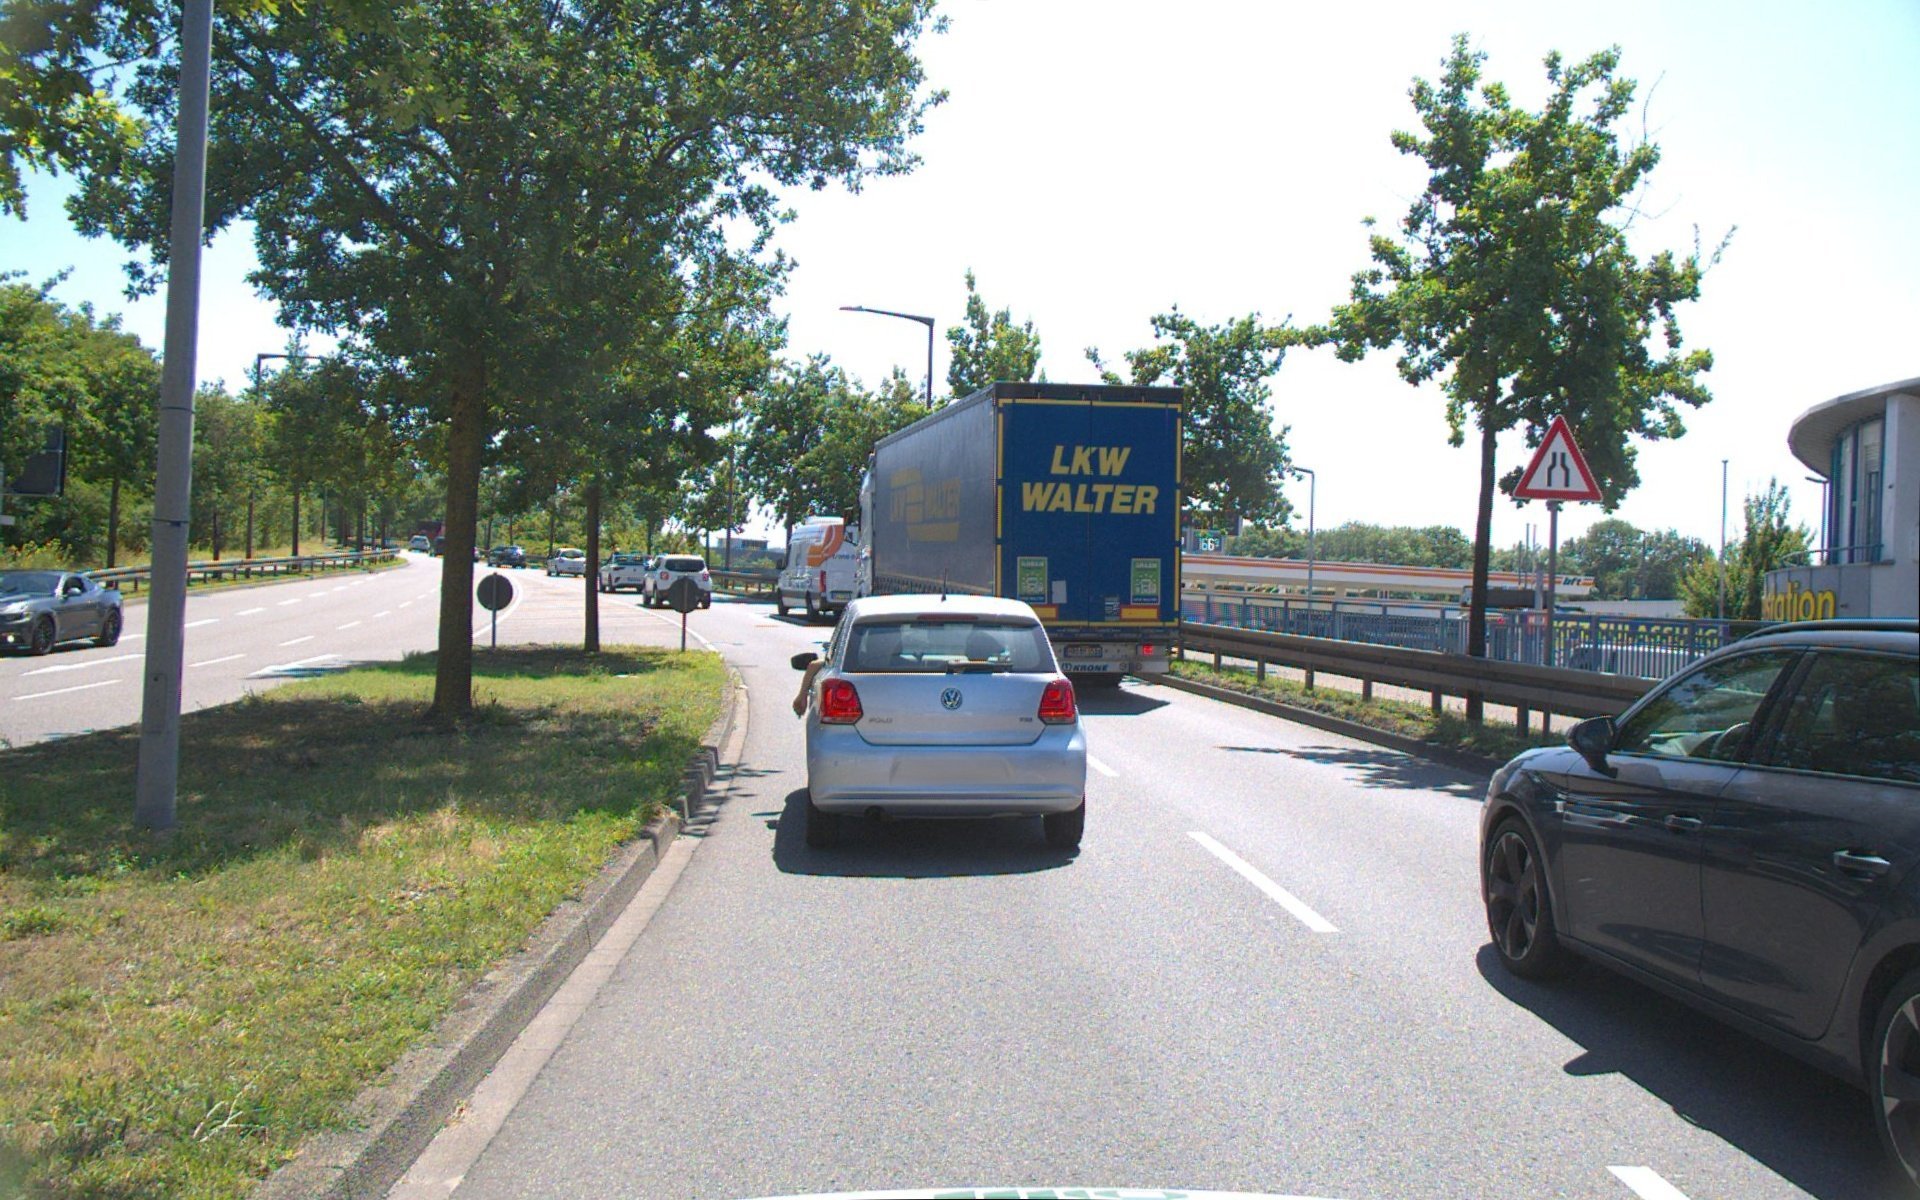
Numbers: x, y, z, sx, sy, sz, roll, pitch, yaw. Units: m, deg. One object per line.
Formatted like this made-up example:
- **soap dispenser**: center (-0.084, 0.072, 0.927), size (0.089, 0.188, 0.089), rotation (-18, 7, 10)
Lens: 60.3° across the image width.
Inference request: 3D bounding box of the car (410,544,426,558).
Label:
- **car**: center (-50.015, -4.552, 152.650), size (1.301, 1.158, 2.979), rotation (2, 0, -18)

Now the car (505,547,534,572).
- **car**: center (-27.982, -2.548, 105.034), size (1.639, 1.490, 3.563), rotation (2, 0, -17)

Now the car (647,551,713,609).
- **car**: center (-9.138, -0.614, 53.819), size (1.870, 1.748, 4.210), rotation (2, 0, -12)

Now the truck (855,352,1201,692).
- **truck**: center (0.385, -1.071, 29.317), size (2.781, 4.271, 16.438), rotation (1, 0, -9)

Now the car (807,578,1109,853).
- **car**: center (-0.148, 0.640, 10.768), size (1.614, 1.464, 3.533), rotation (2, 0, -5)

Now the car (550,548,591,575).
- **car**: center (-20.748, -2.034, 88.086), size (1.585, 1.383, 3.638), rotation (2, 0, -22)

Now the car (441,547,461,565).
- **car**: center (-40.036, -3.458, 130.110), size (1.395, 1.337, 3.321), rotation (2, 0, -17)

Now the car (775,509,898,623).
- **car**: center (-3.610, -0.983, 46.921), size (2.140, 2.951, 6.331), rotation (2, 1, -16)

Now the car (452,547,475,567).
- **car**: center (-35.395, -3.053, 117.934), size (1.434, 1.337, 3.618), rotation (2, 0, -18)

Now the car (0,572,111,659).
- **car**: center (-16.076, 0.228, 28.121), size (1.778, 1.357, 4.555), rotation (2, 0, -12)

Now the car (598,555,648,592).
- **car**: center (-13.572, -1.063, 66.578), size (1.472, 1.383, 3.642), rotation (2, 0, -19)

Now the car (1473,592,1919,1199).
- **car**: center (3.099, 0.747, 5.042), size (1.572, 1.481, 4.233), rotation (1, 0, -3)
